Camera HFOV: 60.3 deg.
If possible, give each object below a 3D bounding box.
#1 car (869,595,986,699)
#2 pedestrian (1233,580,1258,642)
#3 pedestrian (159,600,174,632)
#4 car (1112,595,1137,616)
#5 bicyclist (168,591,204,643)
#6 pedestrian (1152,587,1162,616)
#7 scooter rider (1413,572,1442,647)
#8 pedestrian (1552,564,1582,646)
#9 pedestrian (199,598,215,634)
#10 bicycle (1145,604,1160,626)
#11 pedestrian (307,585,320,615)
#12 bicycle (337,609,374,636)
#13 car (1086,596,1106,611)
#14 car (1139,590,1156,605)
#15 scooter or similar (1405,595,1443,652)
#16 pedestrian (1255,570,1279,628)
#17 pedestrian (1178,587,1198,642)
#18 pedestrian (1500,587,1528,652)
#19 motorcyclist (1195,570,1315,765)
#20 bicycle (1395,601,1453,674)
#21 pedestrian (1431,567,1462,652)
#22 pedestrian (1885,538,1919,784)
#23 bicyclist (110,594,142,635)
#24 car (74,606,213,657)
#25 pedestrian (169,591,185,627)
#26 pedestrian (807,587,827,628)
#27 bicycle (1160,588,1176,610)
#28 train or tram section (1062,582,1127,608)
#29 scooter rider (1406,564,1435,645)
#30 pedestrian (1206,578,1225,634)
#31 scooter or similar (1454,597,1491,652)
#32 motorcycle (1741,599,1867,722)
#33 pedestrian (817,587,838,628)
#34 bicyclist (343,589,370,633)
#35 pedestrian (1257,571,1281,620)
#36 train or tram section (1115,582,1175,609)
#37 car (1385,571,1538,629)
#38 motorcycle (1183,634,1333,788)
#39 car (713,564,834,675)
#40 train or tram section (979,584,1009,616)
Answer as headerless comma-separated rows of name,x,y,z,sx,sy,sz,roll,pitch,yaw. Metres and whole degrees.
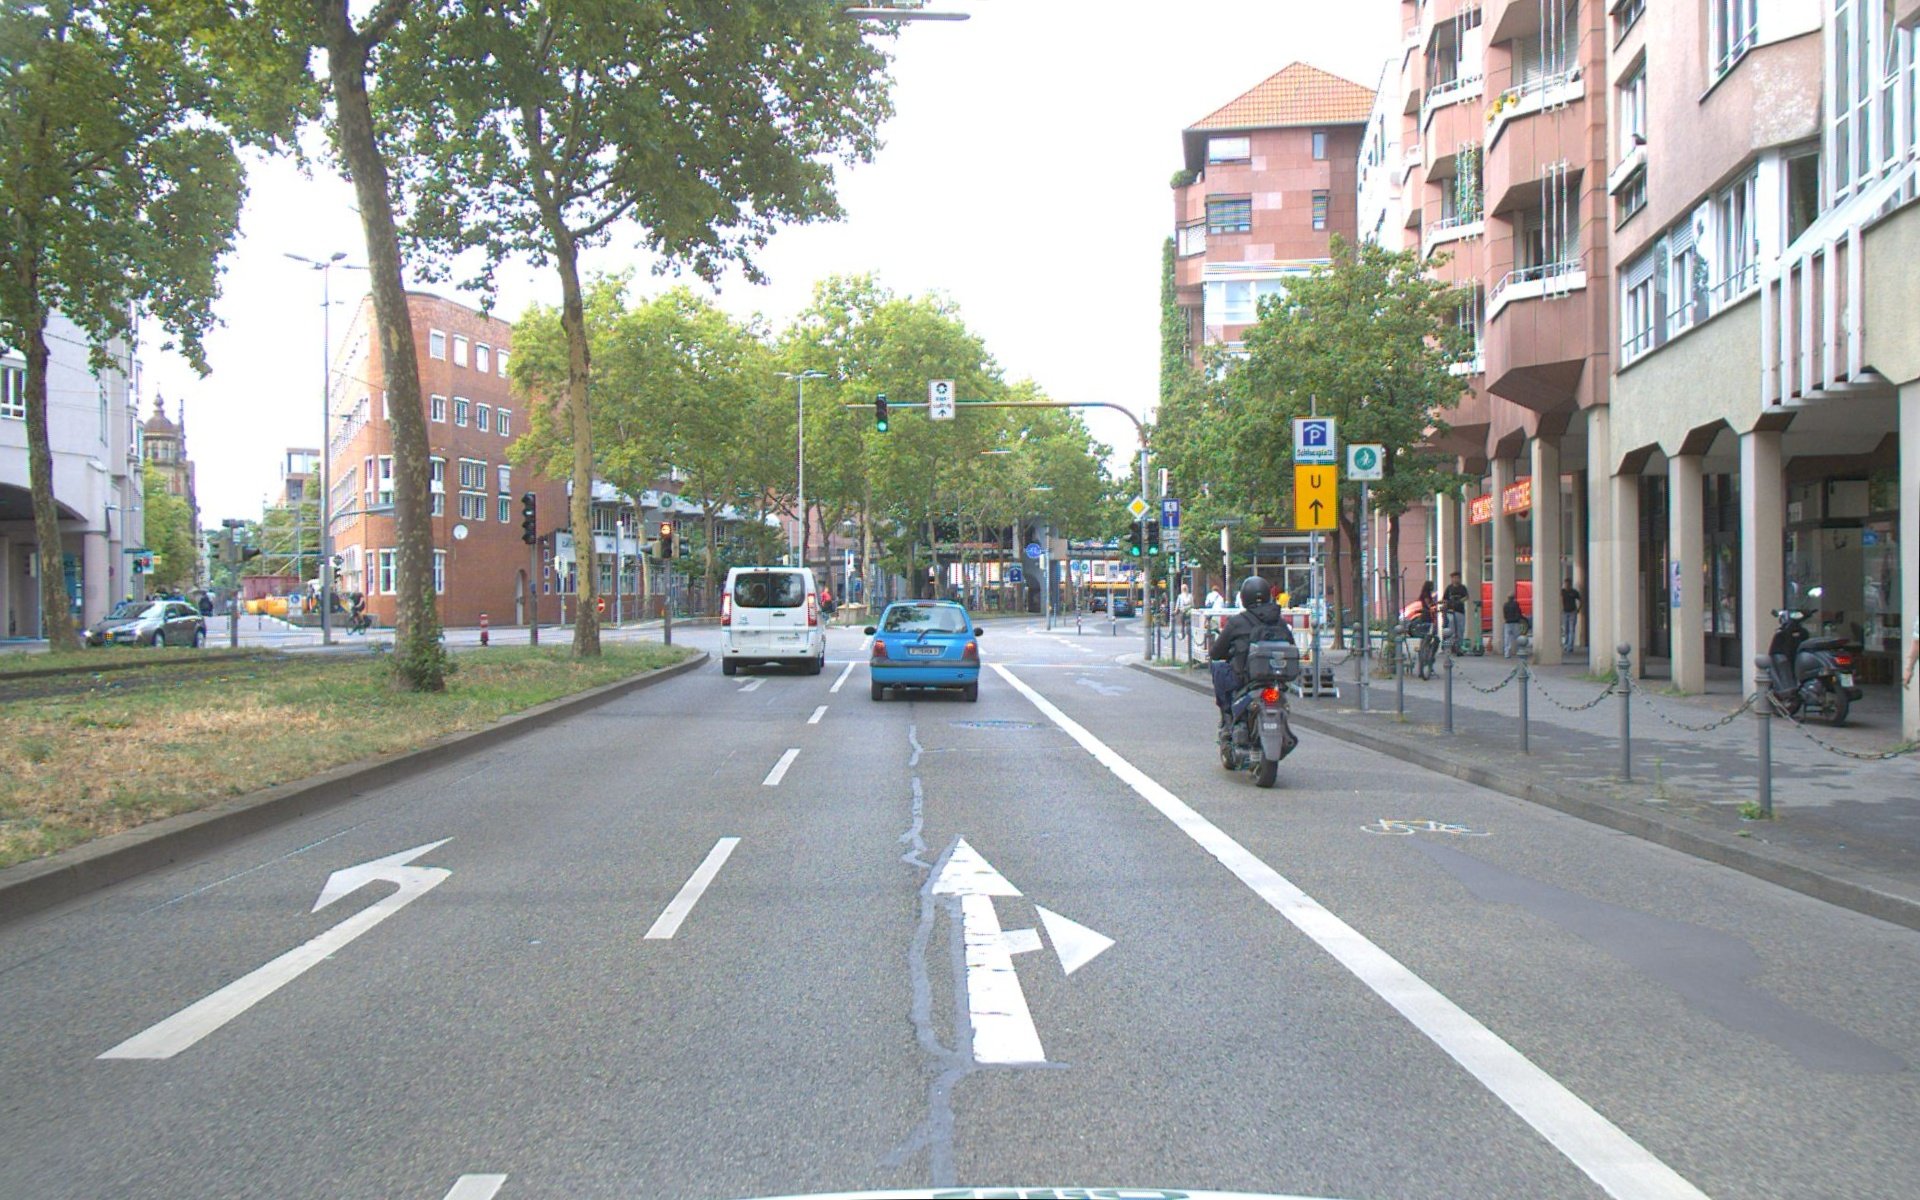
car,-0.487,0.644,24.722,1.607,1.410,3.842,0,0,-1
pedestrian,8.667,0.335,50.204,0.662,1.860,0.851,-1,0,5
pedestrian,-52.266,1.055,108.898,0.852,2.049,1.333,-1,0,-26
car,12.826,0.420,128.835,1.662,1.629,4.003,-1,0,10
bicyclist,-25.557,0.545,54.630,0.675,1.702,0.954,-1,0,7
pedestrian,12.911,0.108,108.441,0.633,1.891,0.783,-1,0,8
scooter rider,10.047,0.199,35.571,0.451,1.584,0.565,-1,0,2
pedestrian,13.685,0.103,37.272,0.541,1.831,0.656,-1,0,28
pedestrian,-41.964,0.892,92.187,0.780,1.998,0.799,-1,0,-26
bicycle,9.073,0.712,77.938,0.604,1.026,1.736,-1,0,4
pedestrian,-39.219,0.000,100.335,0.684,1.849,0.649,0,0,-28
bicycle,-26.088,0.969,71.442,0.663,1.112,2.210,-1,0,3
car,15.382,0.406,186.694,1.846,1.652,4.003,-1,0,10
car,21.008,-0.325,185.325,1.662,1.629,4.004,-1,0,10
scooter or similar,10.061,0.500,35.889,0.464,1.227,1.330,-1,0,0
pedestrian,9.323,-0.022,50.283,0.638,1.730,1.023,-1,0,6
pedestrian,6.845,0.424,49.682,0.506,1.644,0.851,-1,0,3
pedestrian,11.554,0.405,34.492,0.476,1.347,0.485,-1,0,12
motorcyclist,2.436,0.542,13.740,0.744,1.545,1.017,-1,0,-3
bicycle,7.549,0.586,26.980,0.599,1.137,1.806,-1,0,5
pedestrian,10.619,0.197,36.106,0.539,1.831,0.658,-1,0,9
pedestrian,6.823,0.413,11.379,0.532,1.678,0.826,-1,0,9
bicyclist,-33.073,0.570,65.589,1.024,1.590,0.574,-1,0,-39
car,-22.262,0.835,45.284,1.695,1.267,4.532,-1,0,-2
pedestrian,-37.827,0.418,79.904,0.666,1.709,0.746,-1,0,-29
pedestrian,-6.037,0.311,69.757,0.541,1.748,0.891,-1,0,15
bicycle,9.717,-0.057,77.252,0.604,1.026,1.736,-1,0,4
train or tram section,17.336,-0.654,212.324,8.710,3.311,2.369,-1,0,-34
scooter rider,10.062,0.100,36.162,0.453,1.750,0.553,-1,0,-1
pedestrian,7.658,0.177,49.556,0.506,1.644,0.851,-1,0,5
scooter or similar,11.242,0.527,36.308,0.542,1.190,1.407,-1,0,7
motorcycle,8.900,0.605,17.512,0.603,1.176,1.905,-2,1,10
pedestrian,-5.651,0.317,70.683,0.542,1.748,0.890,-1,0,25
bicyclist,-26.090,0.469,71.519,0.653,1.880,1.081,-1,0,3
pedestrian,10.129,-0.148,54.230,0.661,1.565,0.948,-1,0,6
train or tram section,24.333,-0.606,217.043,8.257,3.311,2.369,-1,0,-34
car,16.925,0.023,56.015,4.723,1.857,2.001,-1,-2,10
motorcycle,2.445,0.878,13.830,0.752,1.126,2.207,-1,0,-2
car,-3.517,0.326,32.003,1.893,1.959,4.954,-1,1,-2
train or tram section,3.741,-0.021,179.939,2.338,3.310,8.824,-1,0,7
